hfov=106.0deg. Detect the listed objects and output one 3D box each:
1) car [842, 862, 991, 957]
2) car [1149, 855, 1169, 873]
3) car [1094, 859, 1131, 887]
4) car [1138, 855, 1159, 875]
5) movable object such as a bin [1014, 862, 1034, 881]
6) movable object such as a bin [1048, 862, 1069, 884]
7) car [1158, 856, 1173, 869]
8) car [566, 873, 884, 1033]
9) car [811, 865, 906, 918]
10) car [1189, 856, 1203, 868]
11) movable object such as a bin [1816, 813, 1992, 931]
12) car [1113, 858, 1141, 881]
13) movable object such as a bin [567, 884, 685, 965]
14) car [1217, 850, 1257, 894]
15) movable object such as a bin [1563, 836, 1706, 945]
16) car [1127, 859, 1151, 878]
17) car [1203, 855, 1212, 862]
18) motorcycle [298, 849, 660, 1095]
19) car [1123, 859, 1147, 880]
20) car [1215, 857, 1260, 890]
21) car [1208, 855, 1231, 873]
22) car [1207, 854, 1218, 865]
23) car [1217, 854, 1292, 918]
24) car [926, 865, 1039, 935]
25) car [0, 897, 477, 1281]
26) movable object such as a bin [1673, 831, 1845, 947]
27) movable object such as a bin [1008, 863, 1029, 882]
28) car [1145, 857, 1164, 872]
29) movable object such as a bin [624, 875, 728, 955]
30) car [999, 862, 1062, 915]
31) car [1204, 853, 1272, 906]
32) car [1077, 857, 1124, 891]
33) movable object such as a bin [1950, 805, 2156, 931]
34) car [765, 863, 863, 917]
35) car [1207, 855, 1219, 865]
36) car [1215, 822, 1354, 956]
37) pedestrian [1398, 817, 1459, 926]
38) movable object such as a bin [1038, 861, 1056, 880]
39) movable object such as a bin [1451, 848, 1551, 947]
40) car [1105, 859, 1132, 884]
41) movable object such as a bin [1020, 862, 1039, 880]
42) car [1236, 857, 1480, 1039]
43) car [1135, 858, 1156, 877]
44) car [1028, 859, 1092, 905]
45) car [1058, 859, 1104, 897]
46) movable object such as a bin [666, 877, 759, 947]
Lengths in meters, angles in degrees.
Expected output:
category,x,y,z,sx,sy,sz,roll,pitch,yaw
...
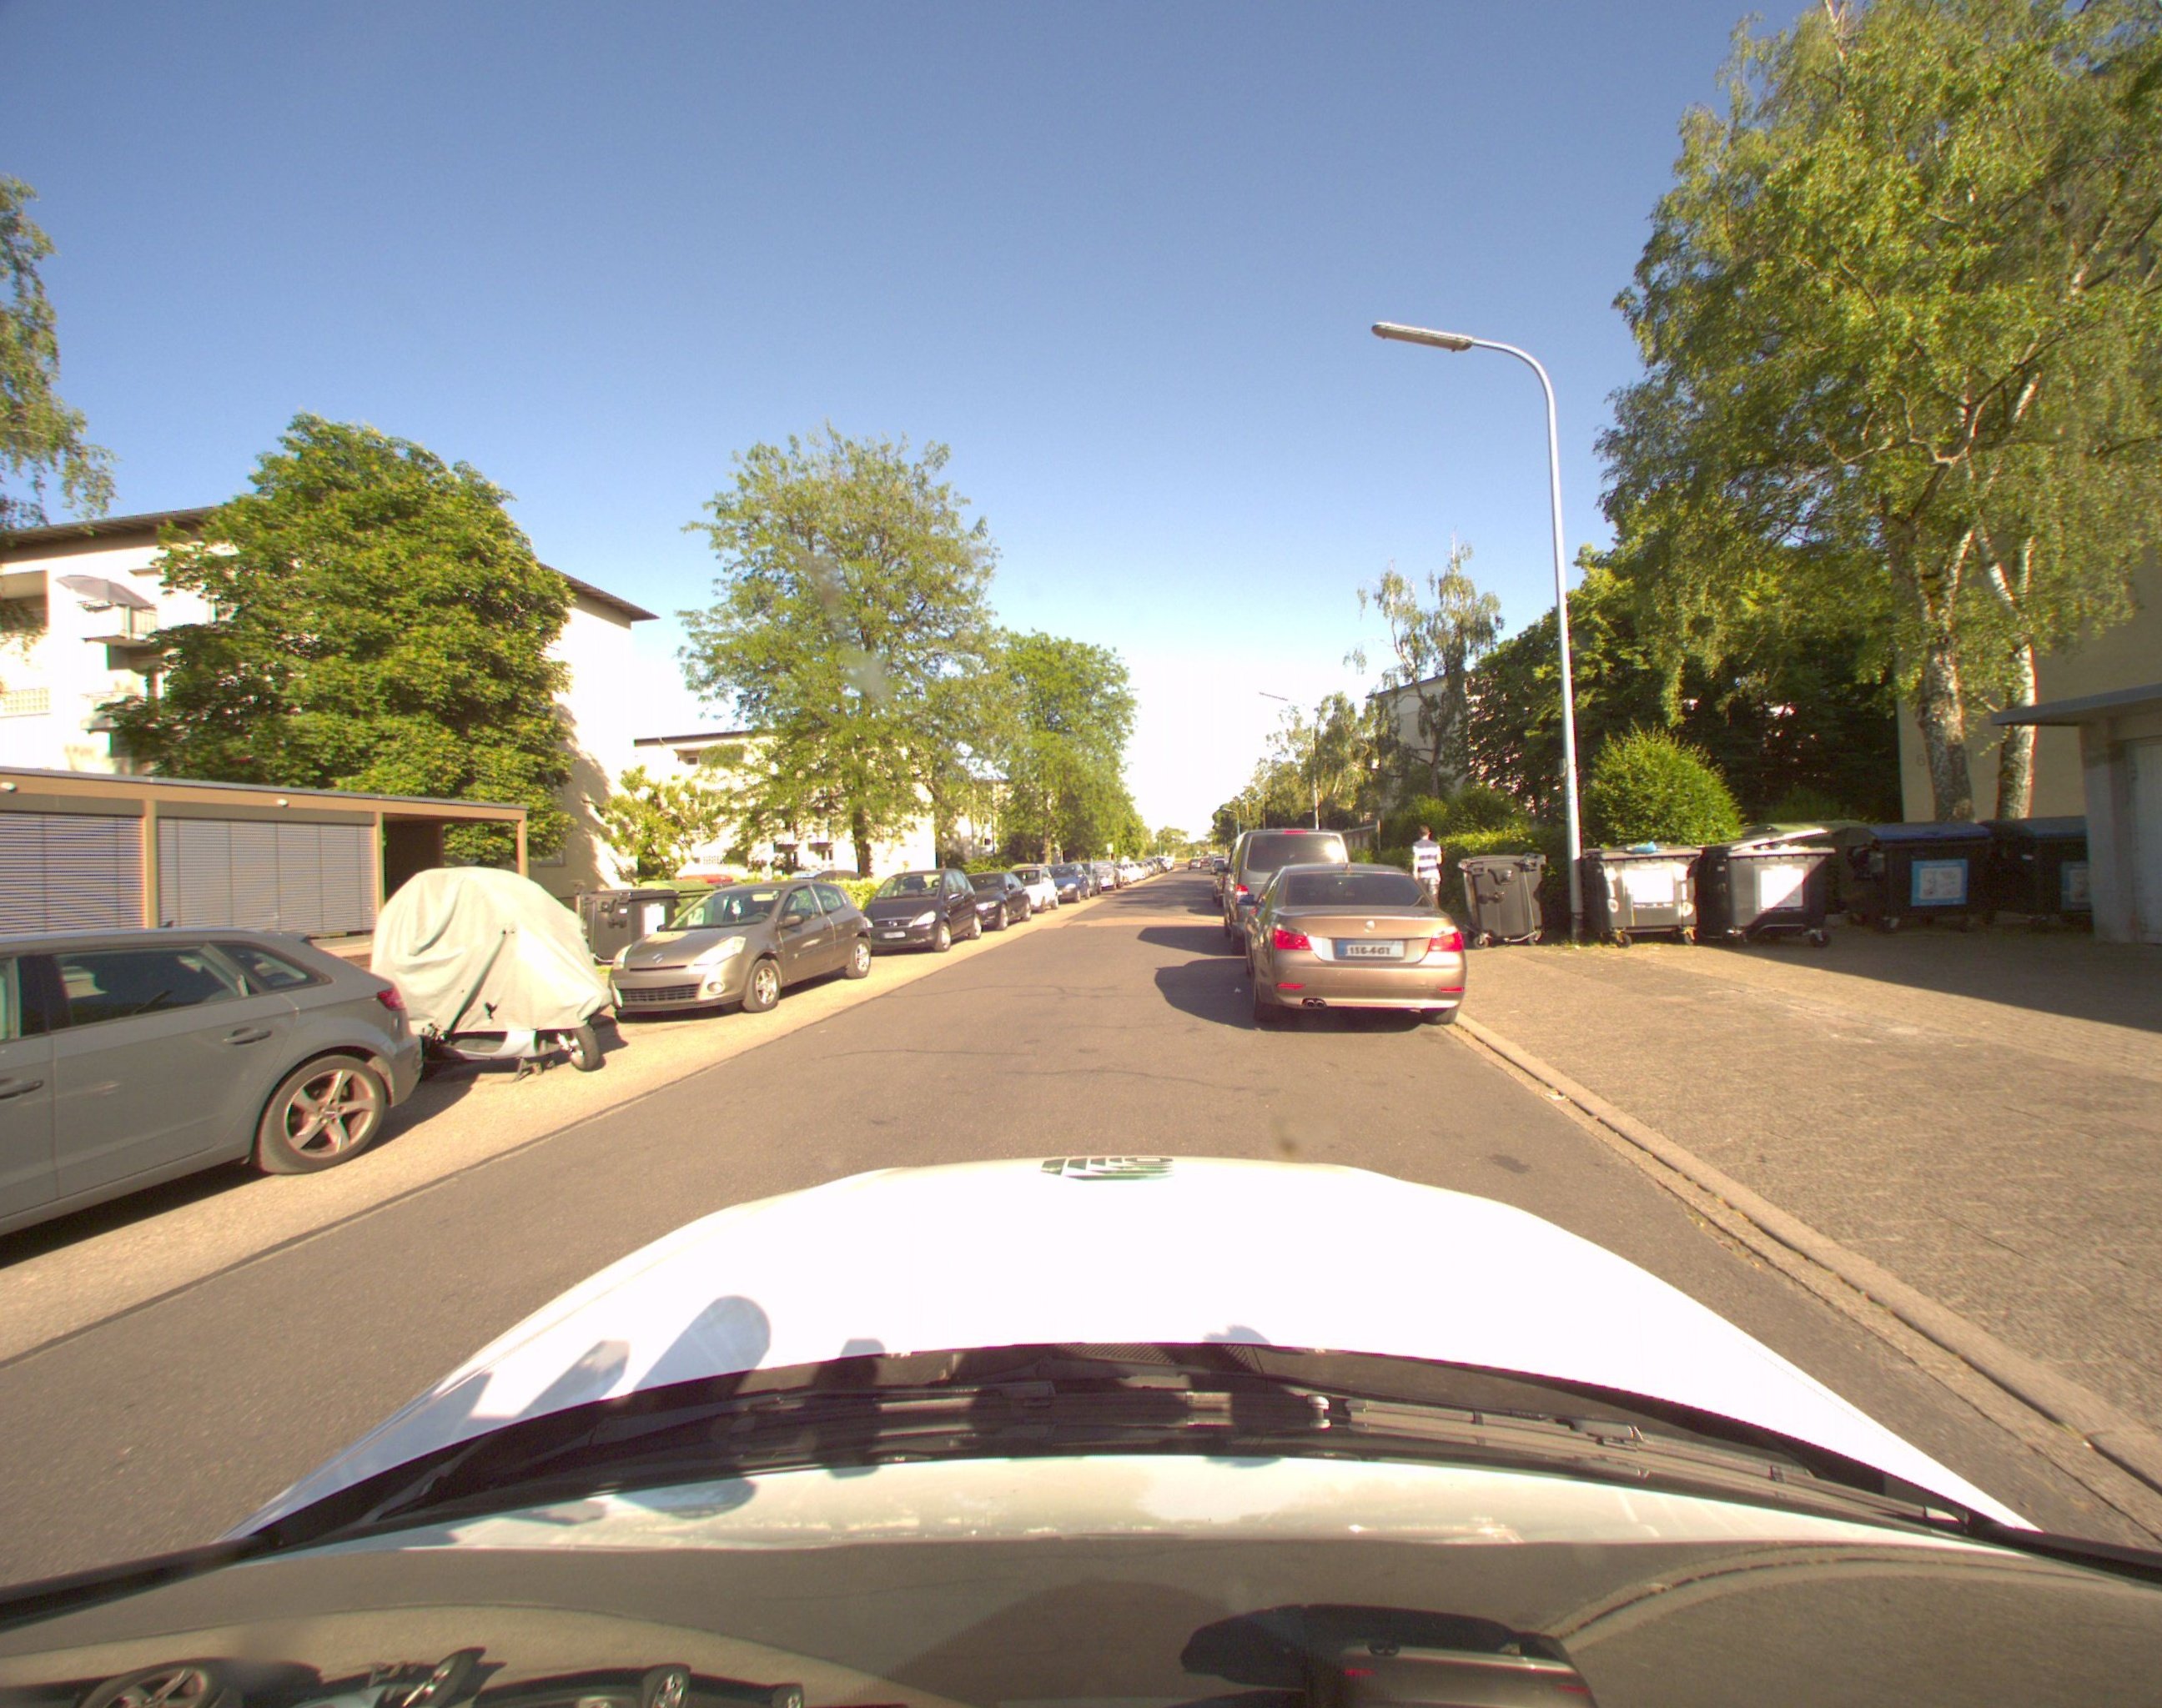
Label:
category,x,y,z,sx,sy,sz,roll,pitch,yaw
car,-3.182,1.029,16.560,1.745,1.574,3.727,-5,-1,7
car,9.385,1.190,97.945,1.904,1.962,5.100,-4,-1,9
car,1.944,1.099,49.365,1.652,1.513,3.956,-4,-1,9
car,6.918,1.082,82.750,1.844,1.892,4.426,-4,-1,7
movable object such as a bin,-4.355,1.334,62.680,1.170,1.421,1.466,0,0,10
movable object such as a bin,-1.449,1.196,52.726,1.129,1.382,1.446,0,0,10
car,11.607,1.131,111.622,1.736,1.732,4.015,-4,-1,8
car,-4.253,1.097,10.523,1.743,1.481,3.970,-5,-1,10
car,-7.138,1.168,26.524,1.562,1.525,4.007,-2,0,7
car,14.852,1.028,105.395,1.671,1.513,4.111,-1,0,6
movable object such as a bin,11.109,0.213,11.065,1.268,1.465,1.137,-3,3,12
car,3.439,1.145,60.457,1.677,1.535,3.899,-4,-1,8
movable object such as a bin,-7.934,1.209,14.276,1.170,1.288,1.346,-2,0,9
car,6.443,0.717,33.754,1.480,1.718,2.589,-1,0,8
movable object such as a bin,7.443,0.474,11.046,1.215,1.365,1.137,-3,-1,12
car,5.129,1.236,71.617,1.677,1.465,4.536,-5,-1,8
car,29.256,1.087,188.683,1.786,1.549,3.958,-2,0,6
motorcycle,-4.893,0.923,6.720,2.245,1.727,0.934,-5,-1,5
car,4.404,1.222,66.101,1.677,1.505,3.825,-3,-1,7
car,7.196,0.864,37.747,1.723,1.403,3.902,-1,0,6
car,12.224,0.839,71.926,1.744,1.513,4.111,-1,0,6
car,24.141,1.016,149.427,1.786,1.786,3.958,-2,-1,6
car,4.449,0.772,21.356,1.614,1.490,4.045,-1,0,8
car,-2.441,1.118,21.427,1.745,1.481,4.547,-5,-1,7
car,-5.211,1.061,3.374,1.744,1.421,4.279,-5,-1,8
movable object such as a bin,8.653,0.437,10.478,1.268,1.365,1.137,-3,-1,12
movable object such as a bin,-4.665,1.375,60.998,1.170,1.421,1.466,0,0,10
car,8.307,1.116,91.826,1.735,1.533,4.151,-4,-1,11
movable object such as a bin,-7.743,1.147,15.642,1.170,1.408,1.346,-2,0,9
car,-1.659,1.136,27.725,1.436,1.574,3.149,-5,-1,7
car,5.070,0.773,26.788,1.723,1.490,4.509,-3,-1,6
car,1.080,1.038,43.725,1.892,1.640,4.359,-4,-1,8
movable object such as a bin,12.348,0.149,10.420,1.268,1.465,1.137,-3,3,12
car,-8.938,1.168,27.609,1.562,1.641,4.007,-2,0,7
car,21.682,1.018,133.635,1.786,1.561,3.958,-2,-1,6
car,3.345,0.532,14.231,1.842,1.934,4.715,-1,0,8
pedestrian,6.344,0.315,14.904,0.699,1.888,0.875,-5,-1,9
movable object such as a bin,-2.702,1.312,64.571,1.127,1.421,1.364,0,0,10
movable object such as a bin,6.247,0.624,12.221,1.018,1.310,1.393,-6,-1,18
car,2.498,1.131,54.000,1.656,1.513,3.540,-4,-1,2
movable object such as a bin,-4.061,1.345,64.178,1.170,1.421,1.466,0,0,10
car,2.625,0.765,8.794,1.790,1.419,4.649,-2,0,10
car,6.075,1.258,76.322,1.700,1.600,3.993,-5,-1,7
car,-0.773,1.097,33.030,1.744,1.606,3.979,-5,-1,9
car,0.049,1.071,38.365,1.627,1.606,3.542,-4,-1,7
movable object such as a bin,-7.689,1.183,17.060,1.170,1.340,1.347,-2,0,10
